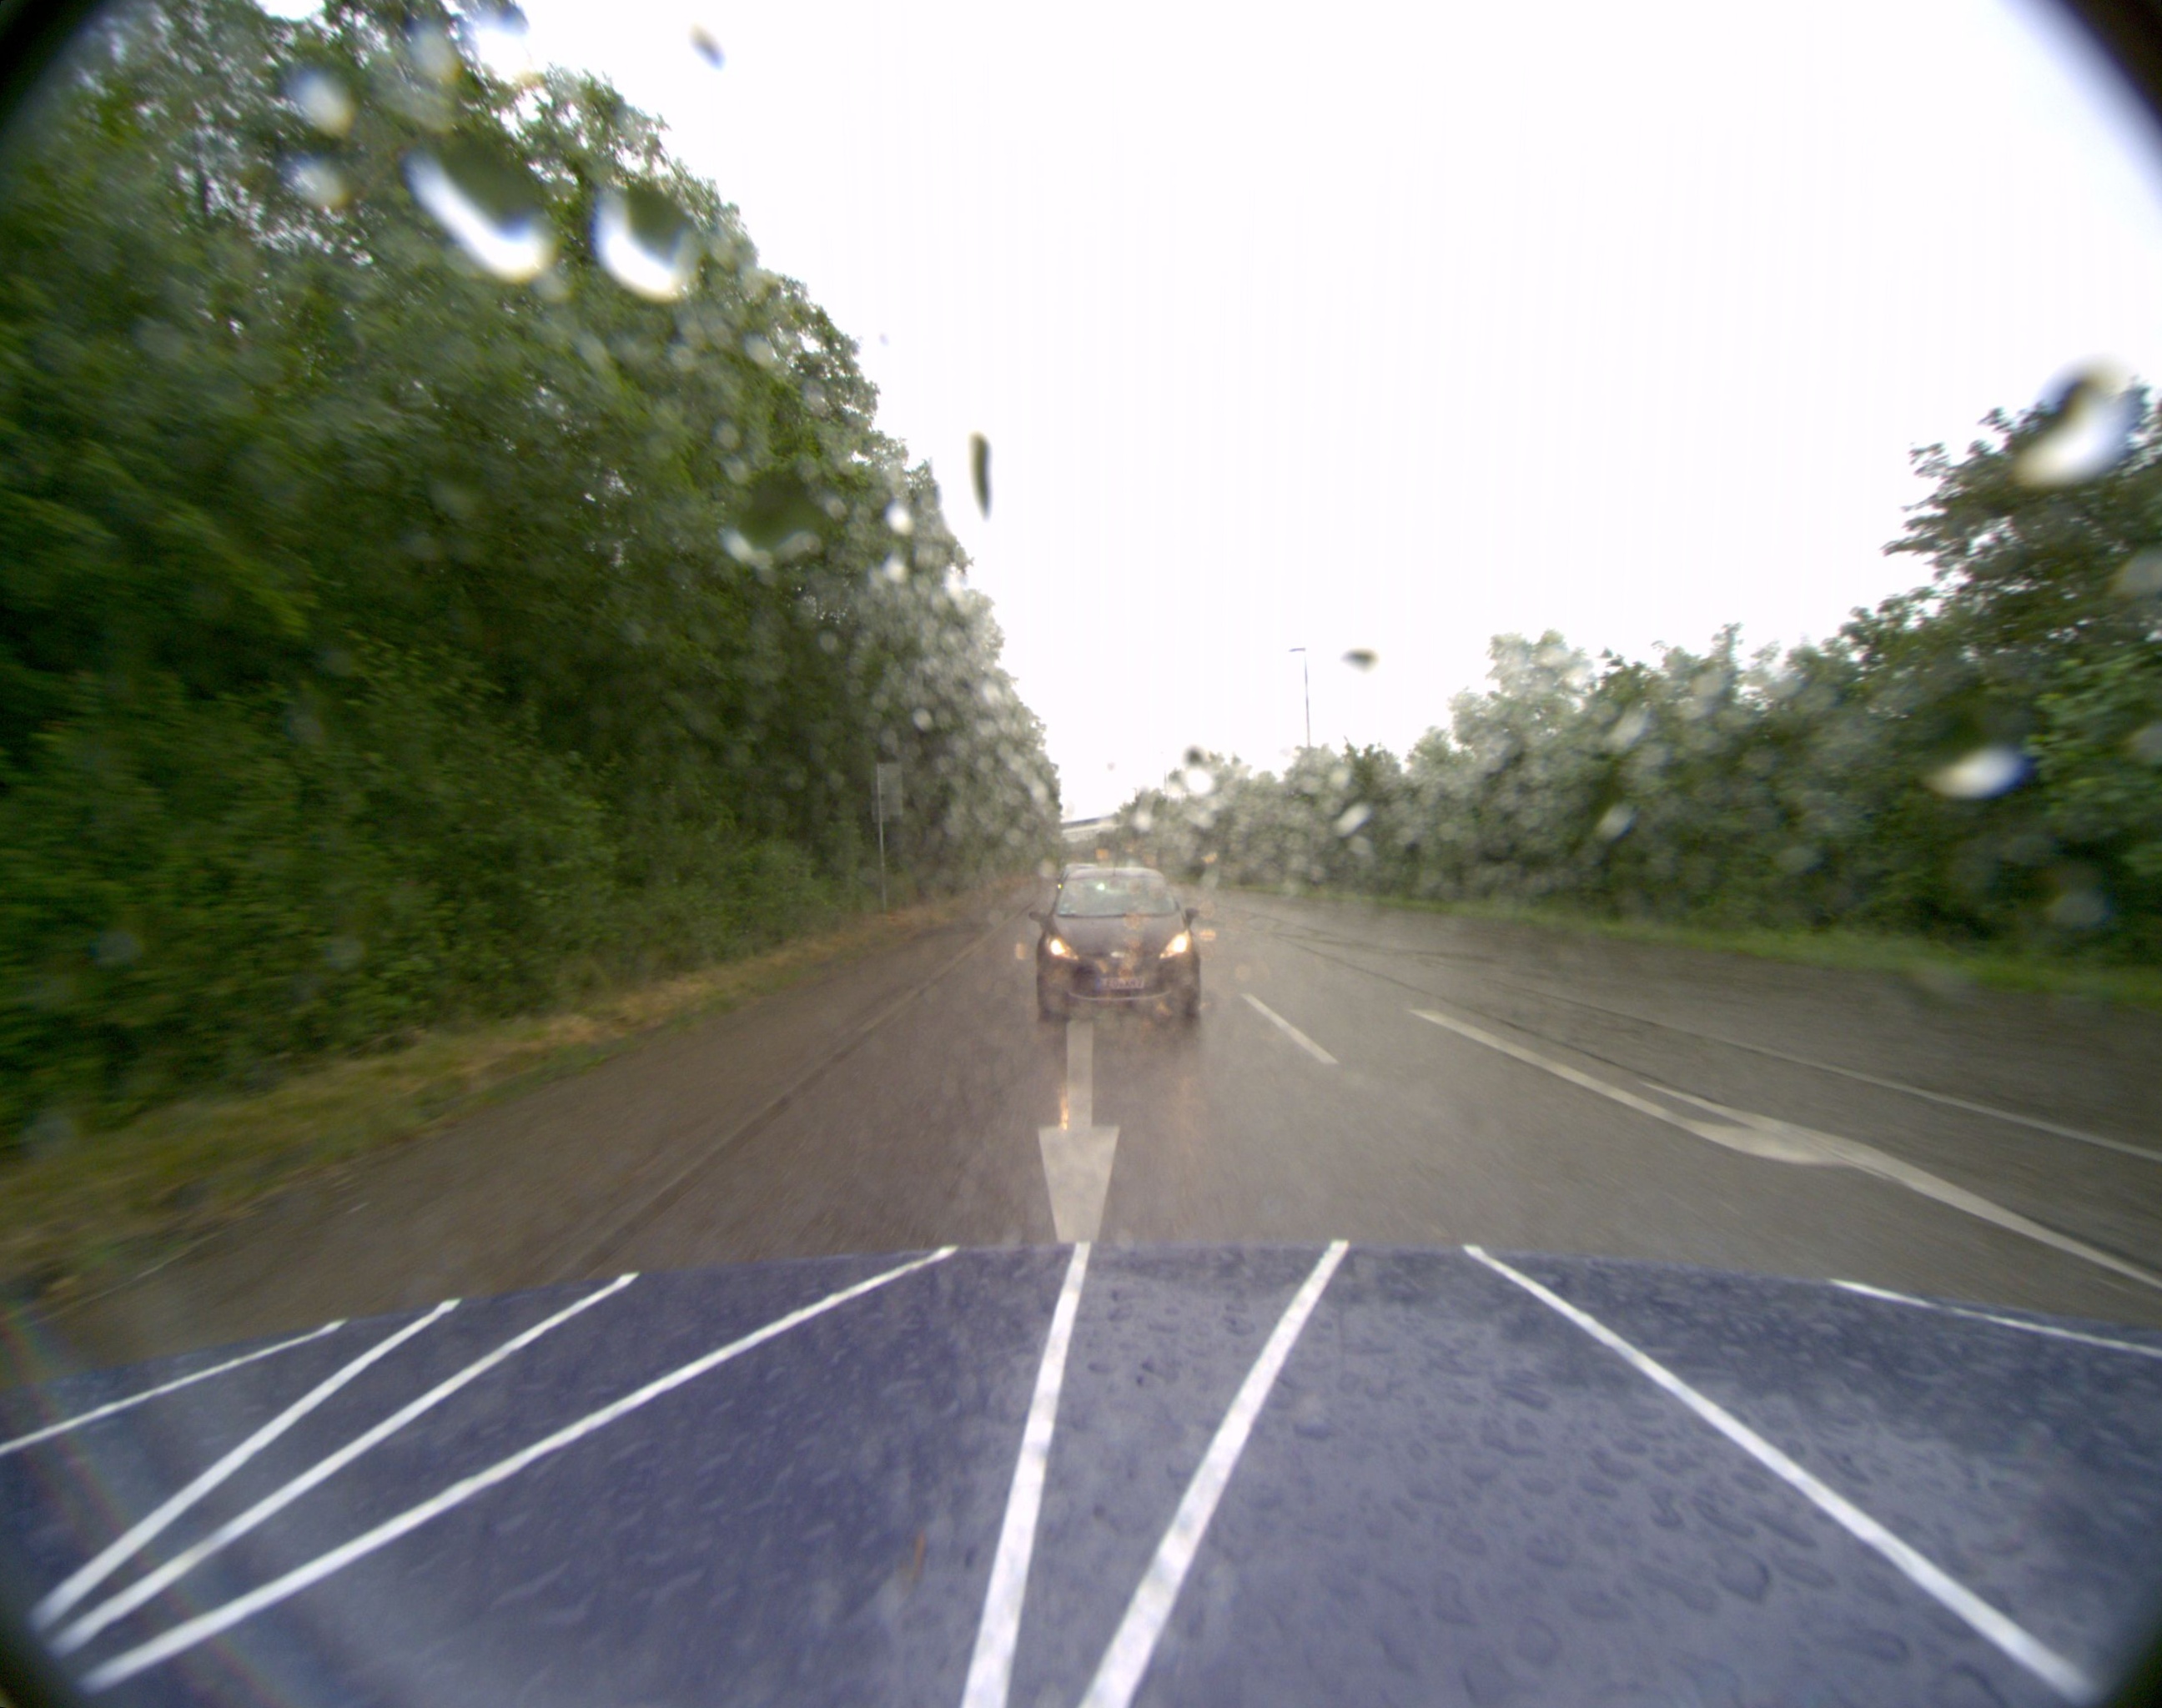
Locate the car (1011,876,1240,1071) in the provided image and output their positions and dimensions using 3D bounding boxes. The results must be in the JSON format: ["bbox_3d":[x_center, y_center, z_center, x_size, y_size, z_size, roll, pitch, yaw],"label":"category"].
[{"bbox_3d":[0.370,1.034,8.323,1.839,1.404,4.342,-1,0,0],"label":"car"}]

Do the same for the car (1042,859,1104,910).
[{"bbox_3d":[-0.240,1.026,27.131,1.998,1.576,4.000,-2,0,0],"label":"car"}]
